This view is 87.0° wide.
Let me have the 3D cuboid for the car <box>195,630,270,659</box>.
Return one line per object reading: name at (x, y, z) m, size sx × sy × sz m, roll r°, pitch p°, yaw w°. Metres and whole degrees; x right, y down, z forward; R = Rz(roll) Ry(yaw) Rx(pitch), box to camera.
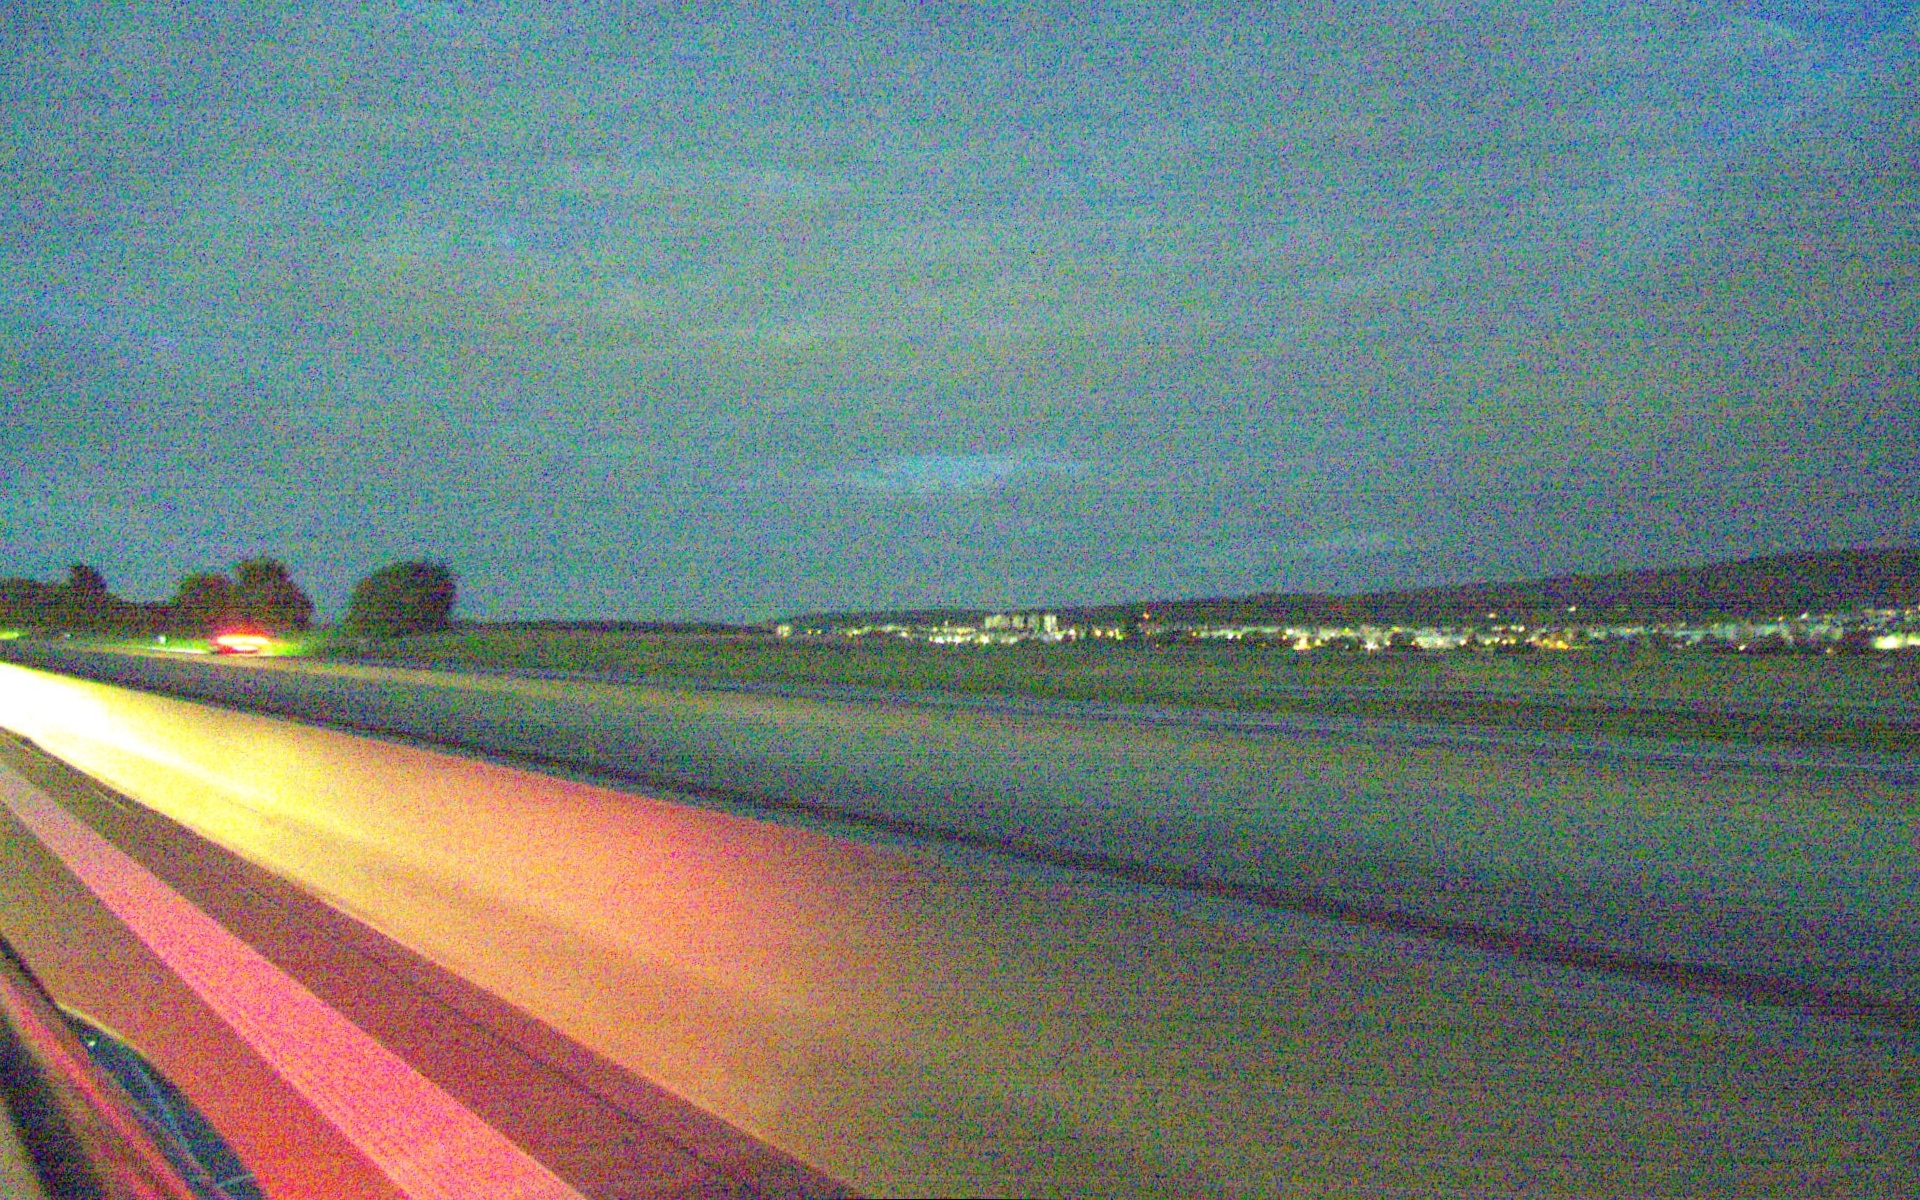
car at (-38.575, 2.371, 53.614) m, size 4.978 × 1.430 × 1.973 m, roll -1°, pitch -4°, yaw 40°
